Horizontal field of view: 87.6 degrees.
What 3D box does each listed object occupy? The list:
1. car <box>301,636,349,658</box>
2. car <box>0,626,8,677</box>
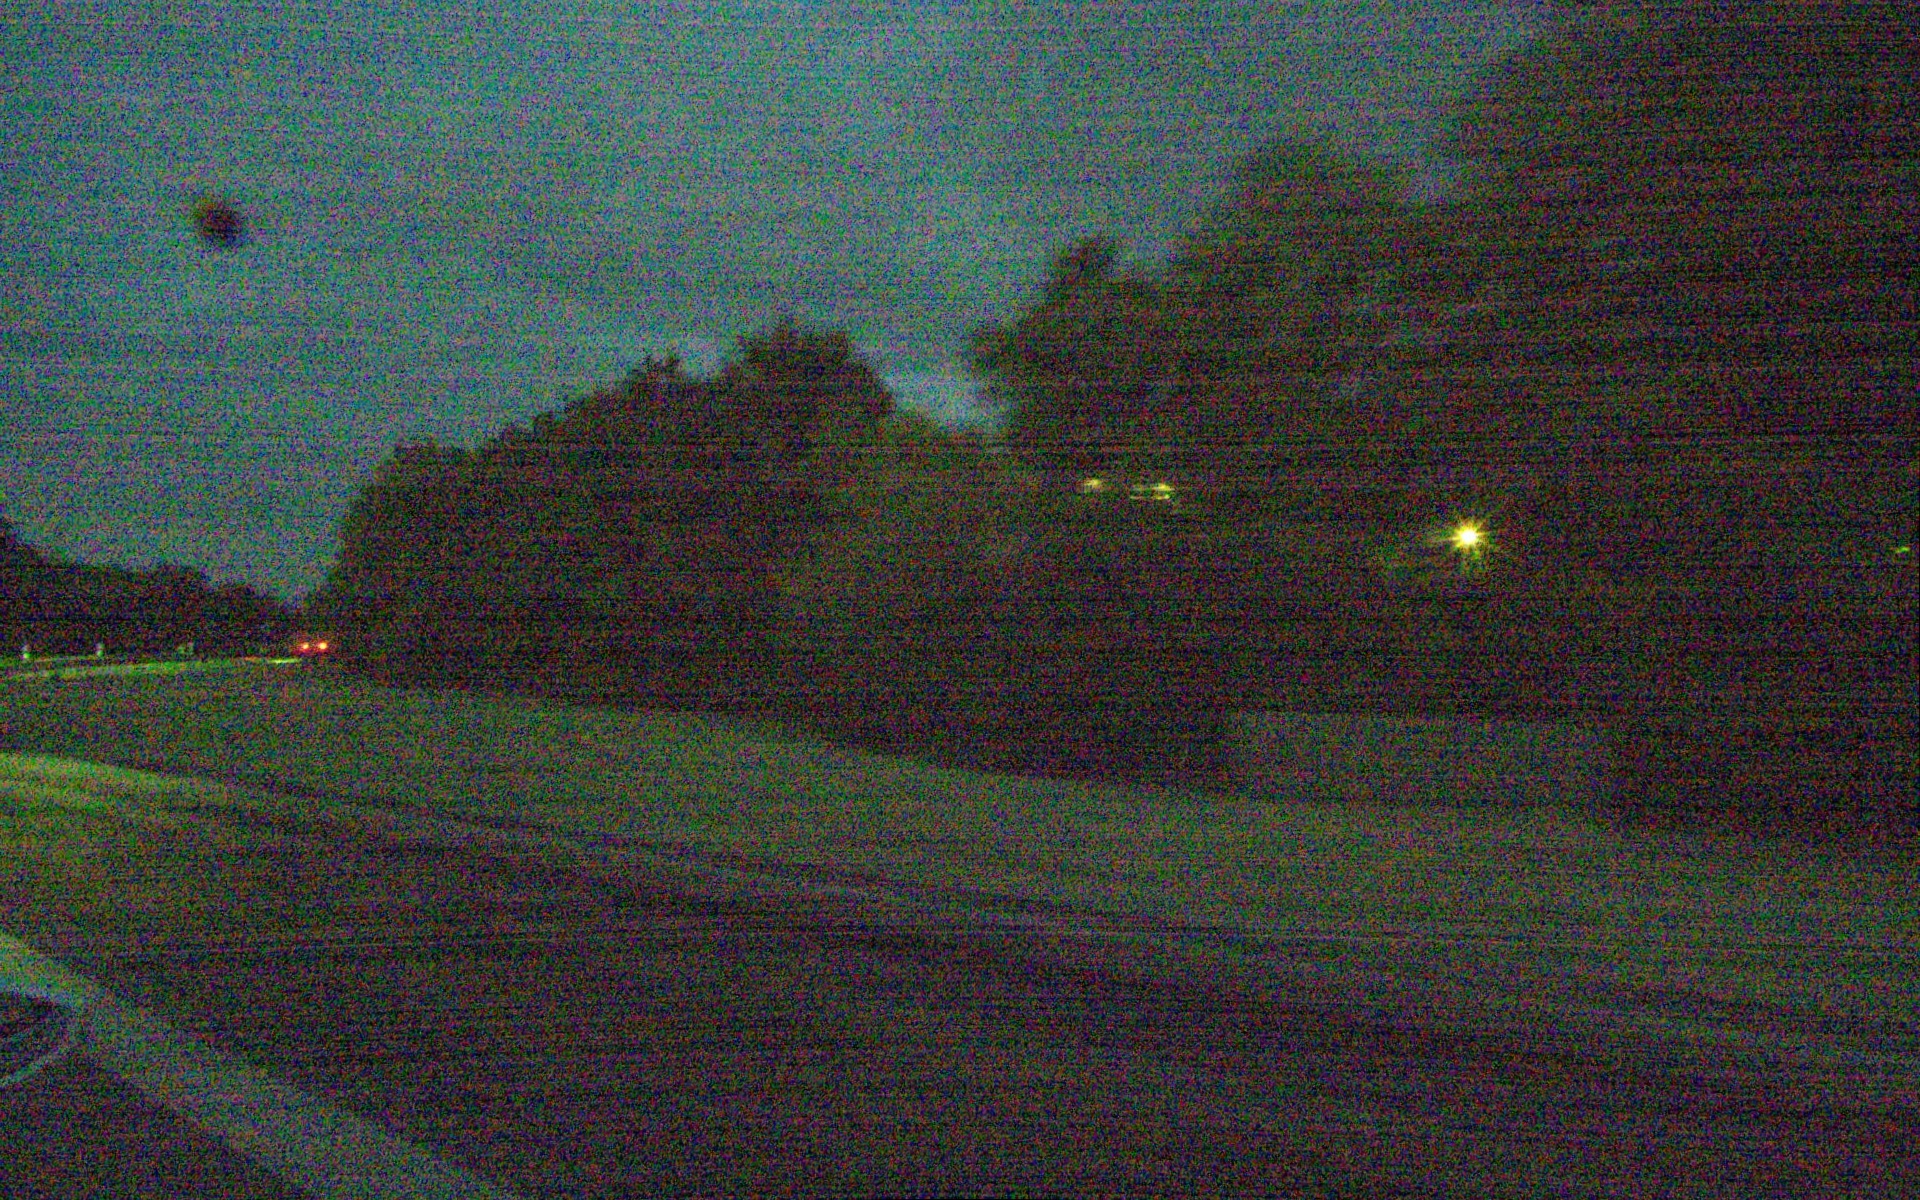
[{"bbox_3d":[-47.874,3.521,75.567,1.964,1.618,3.995,1,-2,-16],"label":"car"},{"bbox_3d":[-32.402,1.668,31.798,1.970,1.680,4.297,1,-2,-27],"label":"car"}]
